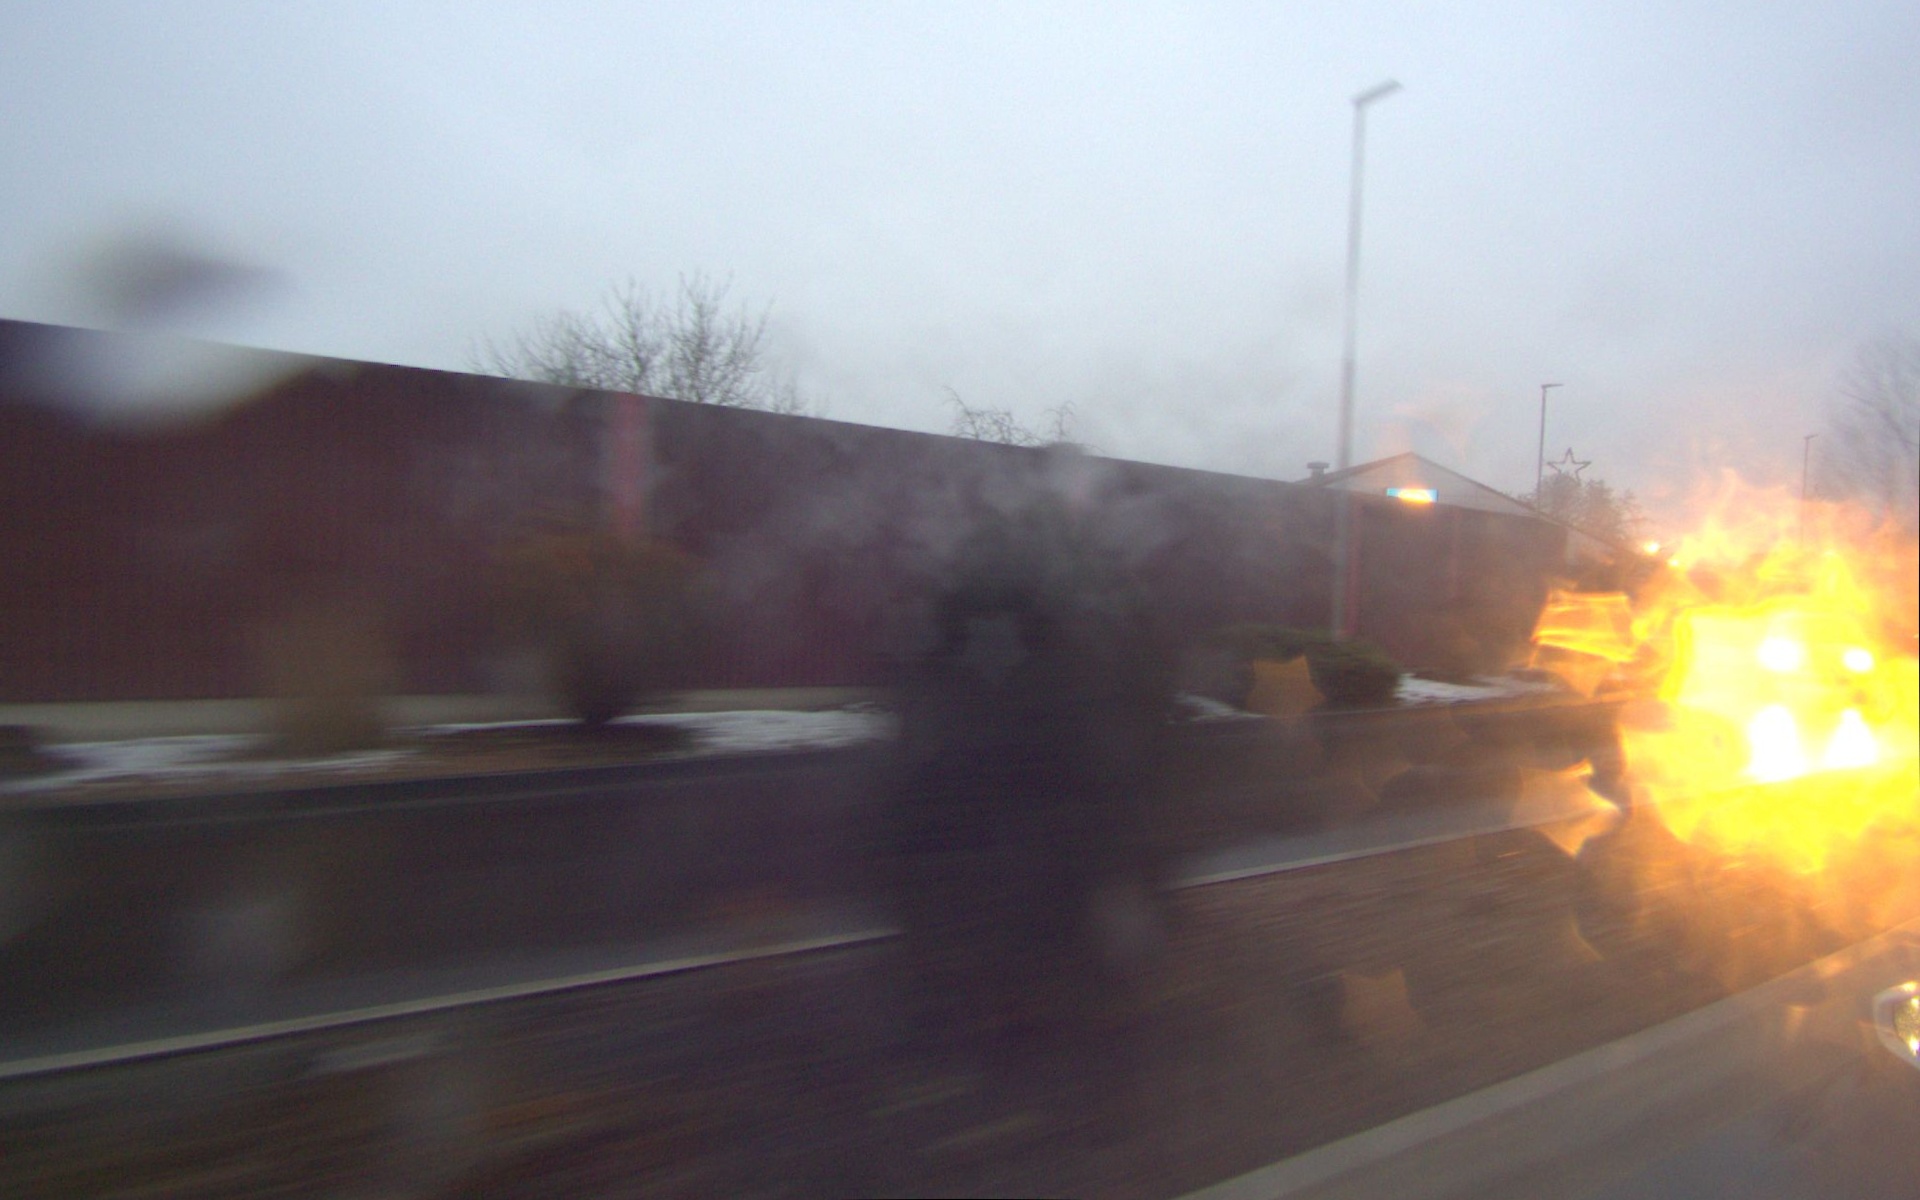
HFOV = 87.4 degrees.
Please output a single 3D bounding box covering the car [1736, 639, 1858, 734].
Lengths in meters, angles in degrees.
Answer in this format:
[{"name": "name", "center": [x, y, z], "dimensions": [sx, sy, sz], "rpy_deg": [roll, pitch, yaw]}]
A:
[{"name": "car", "center": [15.983, 1.559, 19.114], "dimensions": [1.589, 1.489, 3.665], "rpy_deg": [2, 1, 43]}]
